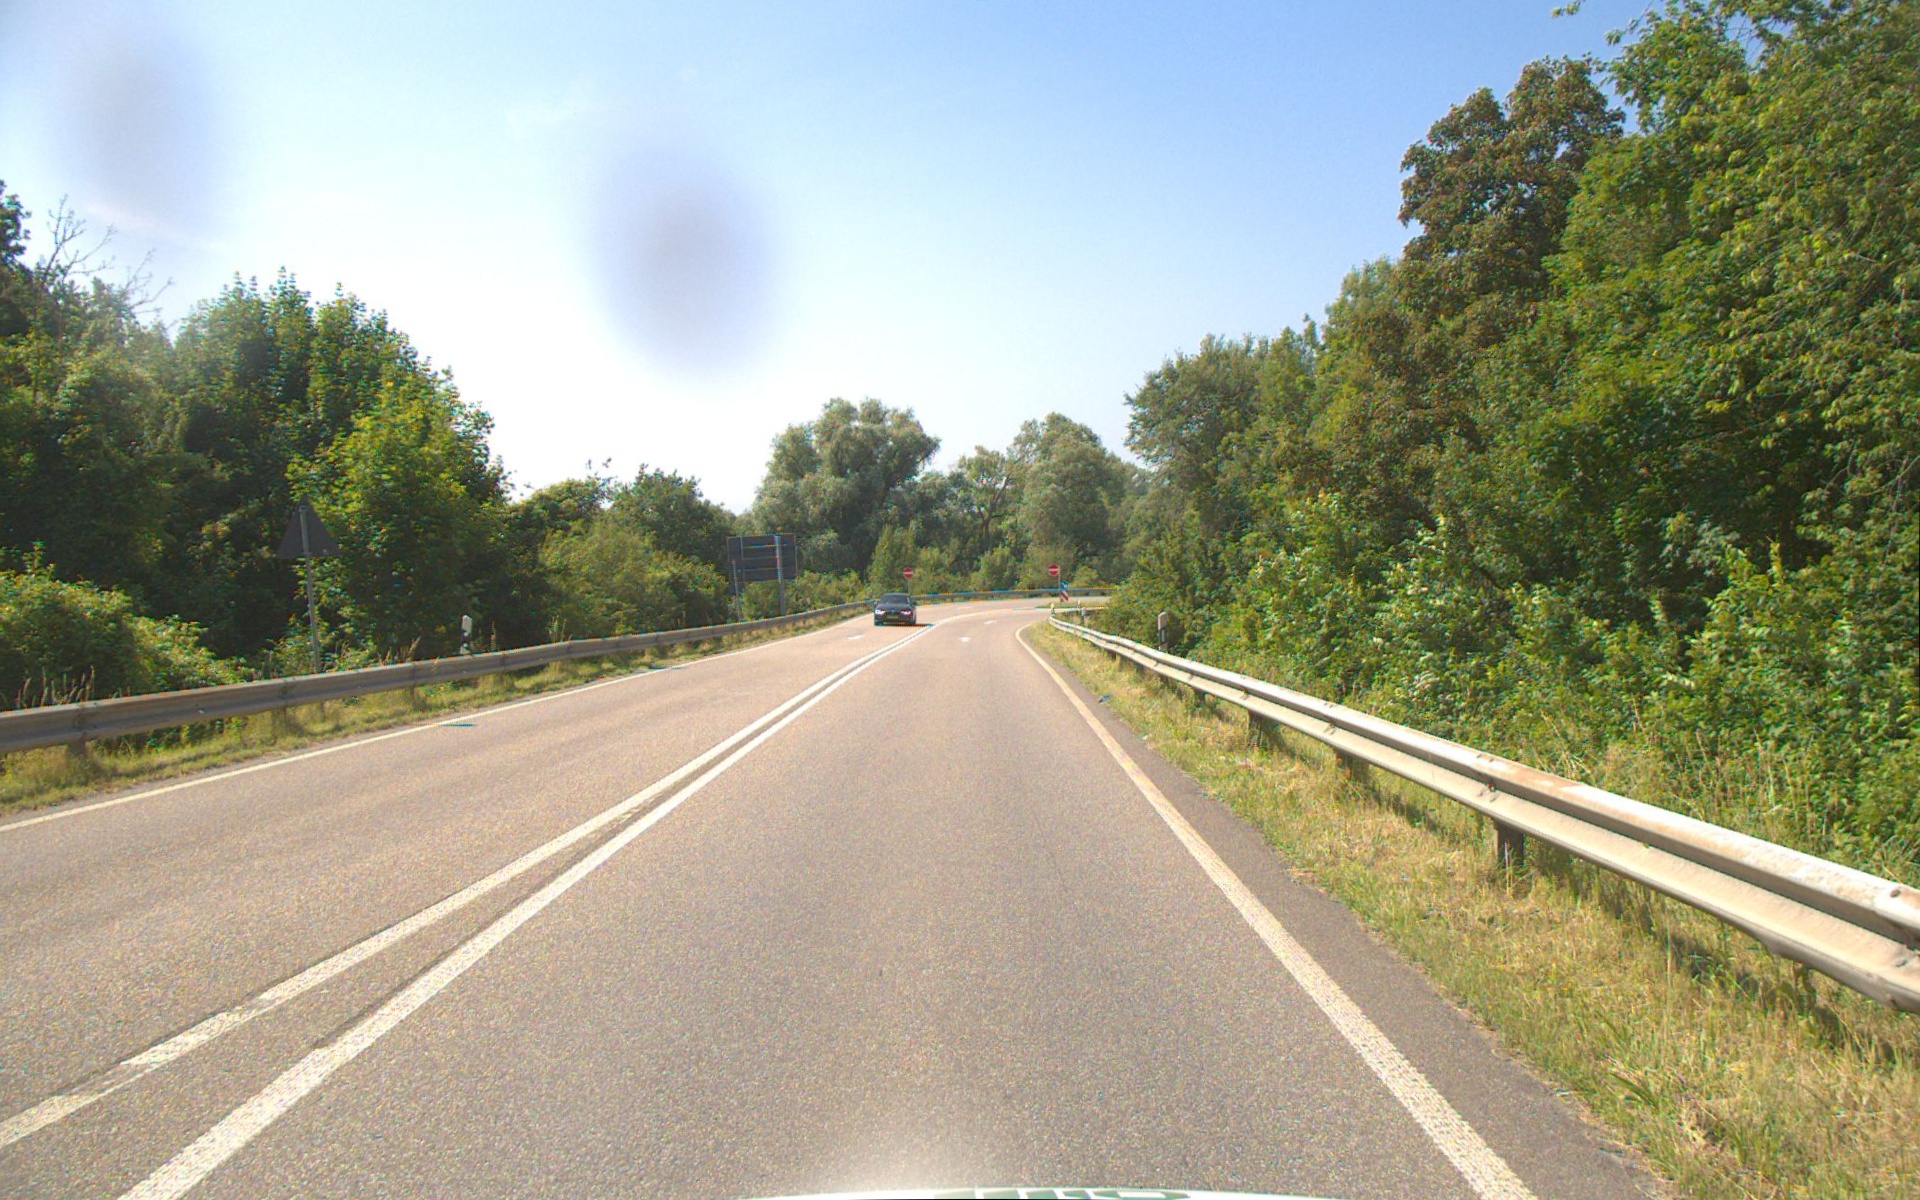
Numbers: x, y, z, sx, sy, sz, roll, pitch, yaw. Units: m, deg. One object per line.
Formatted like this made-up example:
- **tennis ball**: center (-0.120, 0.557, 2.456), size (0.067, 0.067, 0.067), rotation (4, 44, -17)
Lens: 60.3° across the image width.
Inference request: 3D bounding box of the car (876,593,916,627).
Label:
- **car**: center (-2.924, 0.465, 76.502), size (1.574, 1.498, 4.220), rotation (-1, 0, 1)
